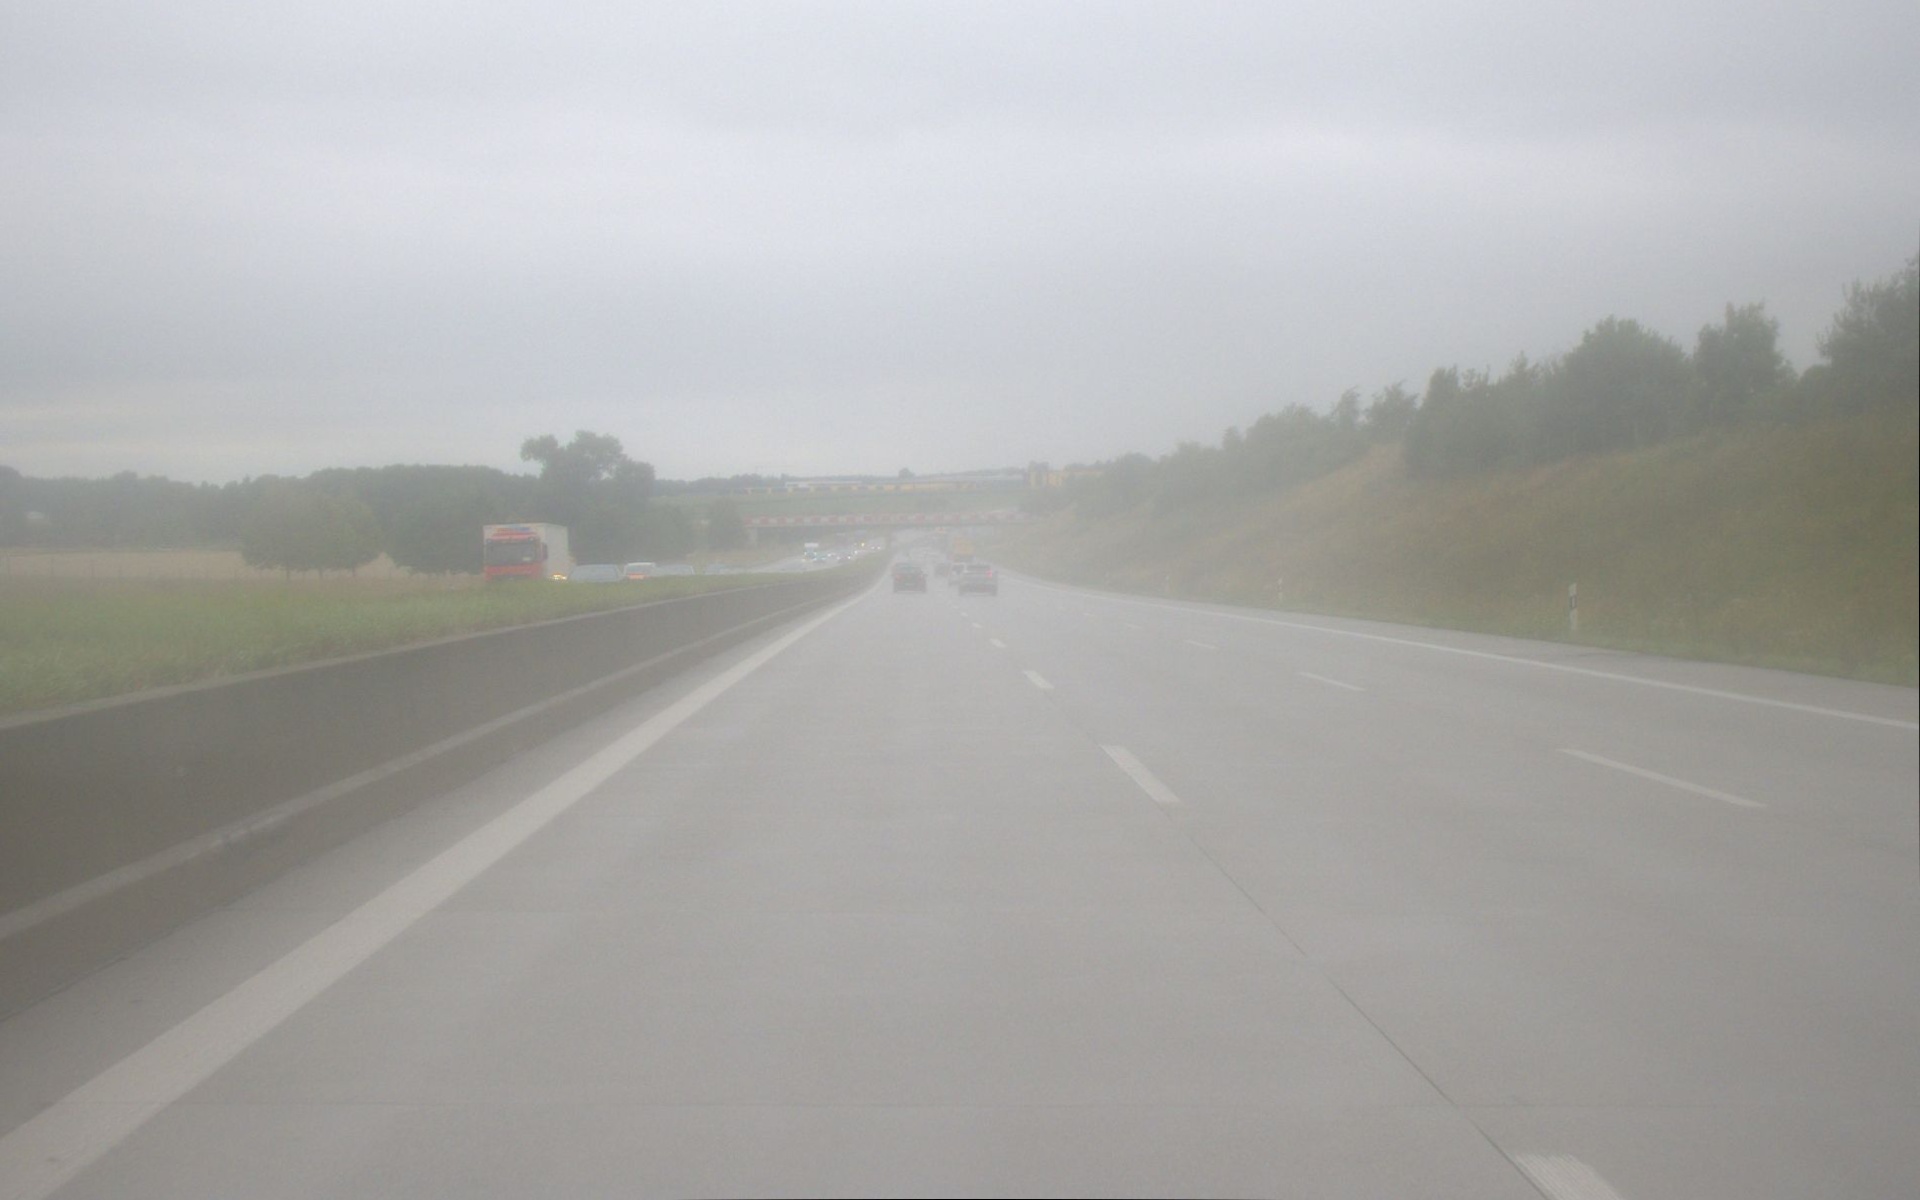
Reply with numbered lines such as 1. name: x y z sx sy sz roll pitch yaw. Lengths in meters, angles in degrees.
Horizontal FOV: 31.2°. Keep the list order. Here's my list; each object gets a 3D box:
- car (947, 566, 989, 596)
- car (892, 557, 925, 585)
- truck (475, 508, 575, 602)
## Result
1. car: 0.368 -0.930 168.897 1.847 1.326 4.430 0 2 -2
2. car: -2.741 -1.563 184.346 1.729 1.326 4.430 0 2 0
3. truck: -18.657 -2.035 148.155 2.903 3.842 12.451 -1 2 -1
